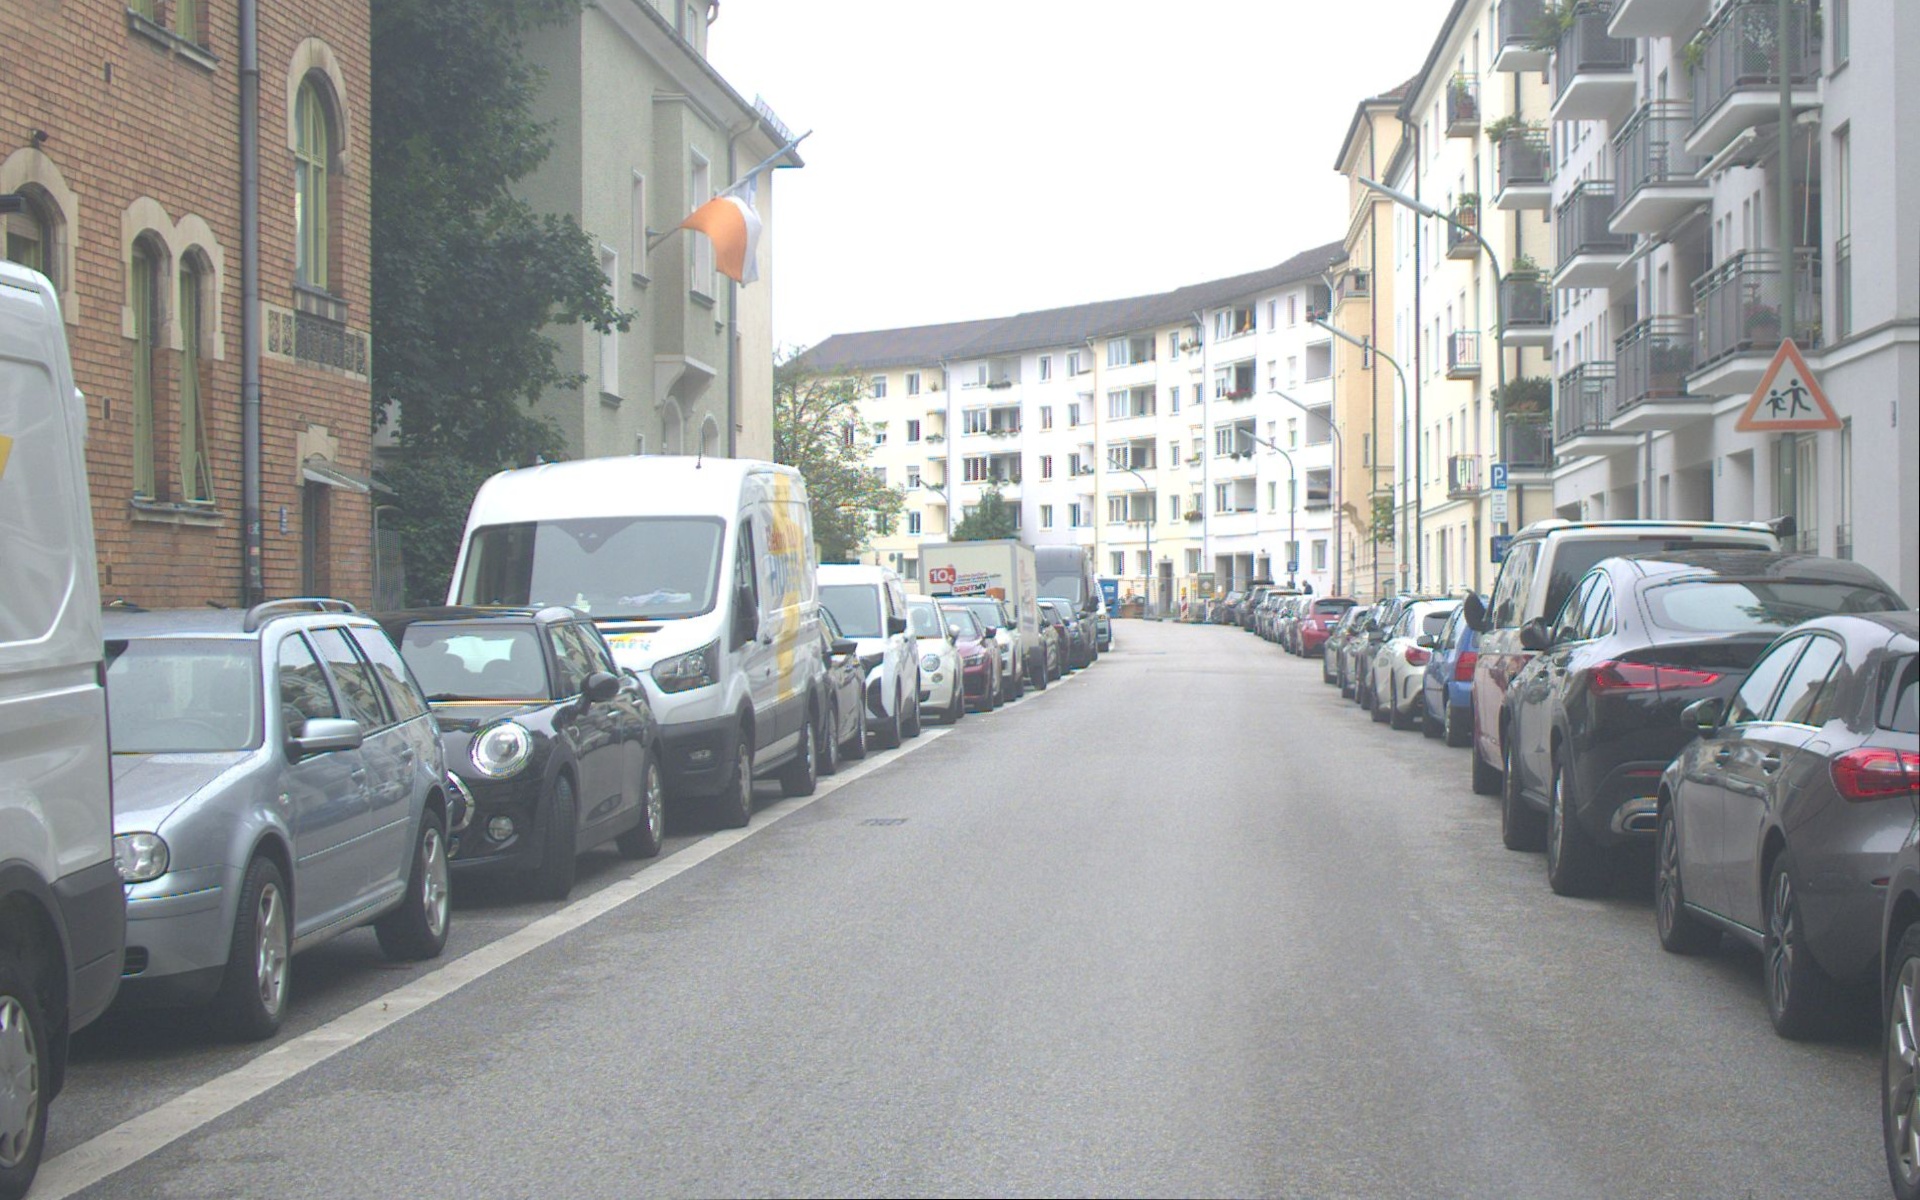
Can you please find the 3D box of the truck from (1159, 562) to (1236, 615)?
[{"bbox_3d":[10.507,-0.526,152.550,2.225,2.292,5.292,0,0,-10],"label":"truck"}]

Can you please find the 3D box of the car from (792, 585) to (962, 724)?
[{"bbox_3d":[-0.923,0.613,40.352,1.846,1.535,4.000,-1,0,1],"label":"car"}]

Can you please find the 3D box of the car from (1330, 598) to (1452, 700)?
[{"bbox_3d":[6.294,0.697,50.500,1.649,1.429,3.999,-1,0,6],"label":"car"}]

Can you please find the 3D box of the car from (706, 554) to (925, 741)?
[{"bbox_3d":[-1.354,0.448,33.754,1.821,1.705,4.000,-1,0,2],"label":"car"}]

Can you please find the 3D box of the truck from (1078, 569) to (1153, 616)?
[{"bbox_3d":[7.870,-0.386,174.281,2.621,2.292,5.442,0,0,-11],"label":"truck"}]

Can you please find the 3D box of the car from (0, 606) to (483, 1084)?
[{"bbox_3d":[-3.068,0.794,12.793,1.689,1.449,3.996,-2,0,5],"label":"car"}]

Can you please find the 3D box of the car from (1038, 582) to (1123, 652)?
[{"bbox_3d":[3.181,0.441,89.994,1.994,1.756,4.380,-1,0,5],"label":"car"}]

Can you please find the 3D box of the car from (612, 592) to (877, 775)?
[{"bbox_3d":[-1.764,0.670,29.304,1.744,1.440,3.999,-1,0,4],"label":"car"}]

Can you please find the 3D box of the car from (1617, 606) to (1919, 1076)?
[{"bbox_3d":[3.635,0.773,12.945,1.728,1.454,4.416,1,0,4],"label":"car"}]

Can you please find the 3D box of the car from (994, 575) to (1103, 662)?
[{"bbox_3d":[1.892,0.387,71.928,1.994,1.756,4.380,-1,0,5],"label":"car"}]

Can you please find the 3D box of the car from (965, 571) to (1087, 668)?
[{"bbox_3d":[1.292,0.368,65.366,1.994,1.756,4.380,-1,0,5],"label":"car"}]

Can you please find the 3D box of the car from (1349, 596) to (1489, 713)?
[{"bbox_3d":[5.907,0.679,44.564,1.649,1.429,3.999,-1,0,6],"label":"car"}]

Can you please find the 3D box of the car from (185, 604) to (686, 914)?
[{"bbox_3d":[-2.618,0.751,18.023,1.698,1.427,3.829,-1,0,5],"label":"car"}]

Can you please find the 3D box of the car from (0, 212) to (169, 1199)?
[{"bbox_3d":[-3.430,0.309,6.835,1.992,2.460,5.470,-2,0,5],"label":"car"}]

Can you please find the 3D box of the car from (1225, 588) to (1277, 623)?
[{"bbox_3d":[11.741,0.207,138.911,1.783,1.380,4.000,0,0,1],"label":"car"}]

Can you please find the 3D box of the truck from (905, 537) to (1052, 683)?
[{"bbox_3d":[0.366,0.167,57.530,1.994,2.311,5.408,-1,0,5],"label":"truck"}]

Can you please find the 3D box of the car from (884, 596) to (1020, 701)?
[{"bbox_3d":[-0.082,0.696,50.754,1.795,1.464,3.867,-1,0,3],"label":"car"}]

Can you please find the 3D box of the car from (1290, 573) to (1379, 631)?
[{"bbox_3d":[9.131,0.028,84.057,1.783,1.380,4.000,0,0,1],"label":"car"}]

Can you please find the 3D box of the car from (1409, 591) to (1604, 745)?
[{"bbox_3d":[5.344,0.645,33.958,1.608,1.429,3.619,-1,0,4],"label":"car"}]

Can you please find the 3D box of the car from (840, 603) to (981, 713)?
[{"bbox_3d":[-0.605,0.737,45.109,1.751,1.364,4.000,-1,0,1],"label":"car"}]

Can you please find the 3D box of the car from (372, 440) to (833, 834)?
[{"bbox_3d":[-2.248,0.237,23.268,2.137,2.341,5.369,-1,0,5],"label":"car"}]

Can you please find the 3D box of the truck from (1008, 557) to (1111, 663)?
[{"bbox_3d":[2.308,0.226,78.504,1.994,2.311,5.408,-1,0,5],"label":"truck"}]

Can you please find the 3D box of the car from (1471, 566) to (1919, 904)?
[{"bbox_3d":[3.857,0.630,18.178,1.859,1.546,4.752,-1,0,4],"label":"car"}]

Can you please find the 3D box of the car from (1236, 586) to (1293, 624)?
[{"bbox_3d":[11.297,0.170,127.856,1.783,1.380,4.000,0,0,1],"label":"car"}]

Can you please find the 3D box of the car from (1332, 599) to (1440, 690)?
[{"bbox_3d":[7.000,0.714,56.766,1.649,1.429,4.283,-1,0,5],"label":"car"}]

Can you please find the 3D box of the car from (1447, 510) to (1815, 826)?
[{"bbox_3d":[4.527,0.435,23.882,1.870,1.961,4.816,-1,0,3],"label":"car"}]

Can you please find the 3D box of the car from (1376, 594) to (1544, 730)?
[{"bbox_3d":[5.540,0.660,38.426,1.649,1.429,3.999,-1,0,6],"label":"car"}]

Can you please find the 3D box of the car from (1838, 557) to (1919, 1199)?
[{"bbox_3d":[3.029,0.706,6.465,1.850,1.633,4.549,-1,0,4],"label":"car"}]
